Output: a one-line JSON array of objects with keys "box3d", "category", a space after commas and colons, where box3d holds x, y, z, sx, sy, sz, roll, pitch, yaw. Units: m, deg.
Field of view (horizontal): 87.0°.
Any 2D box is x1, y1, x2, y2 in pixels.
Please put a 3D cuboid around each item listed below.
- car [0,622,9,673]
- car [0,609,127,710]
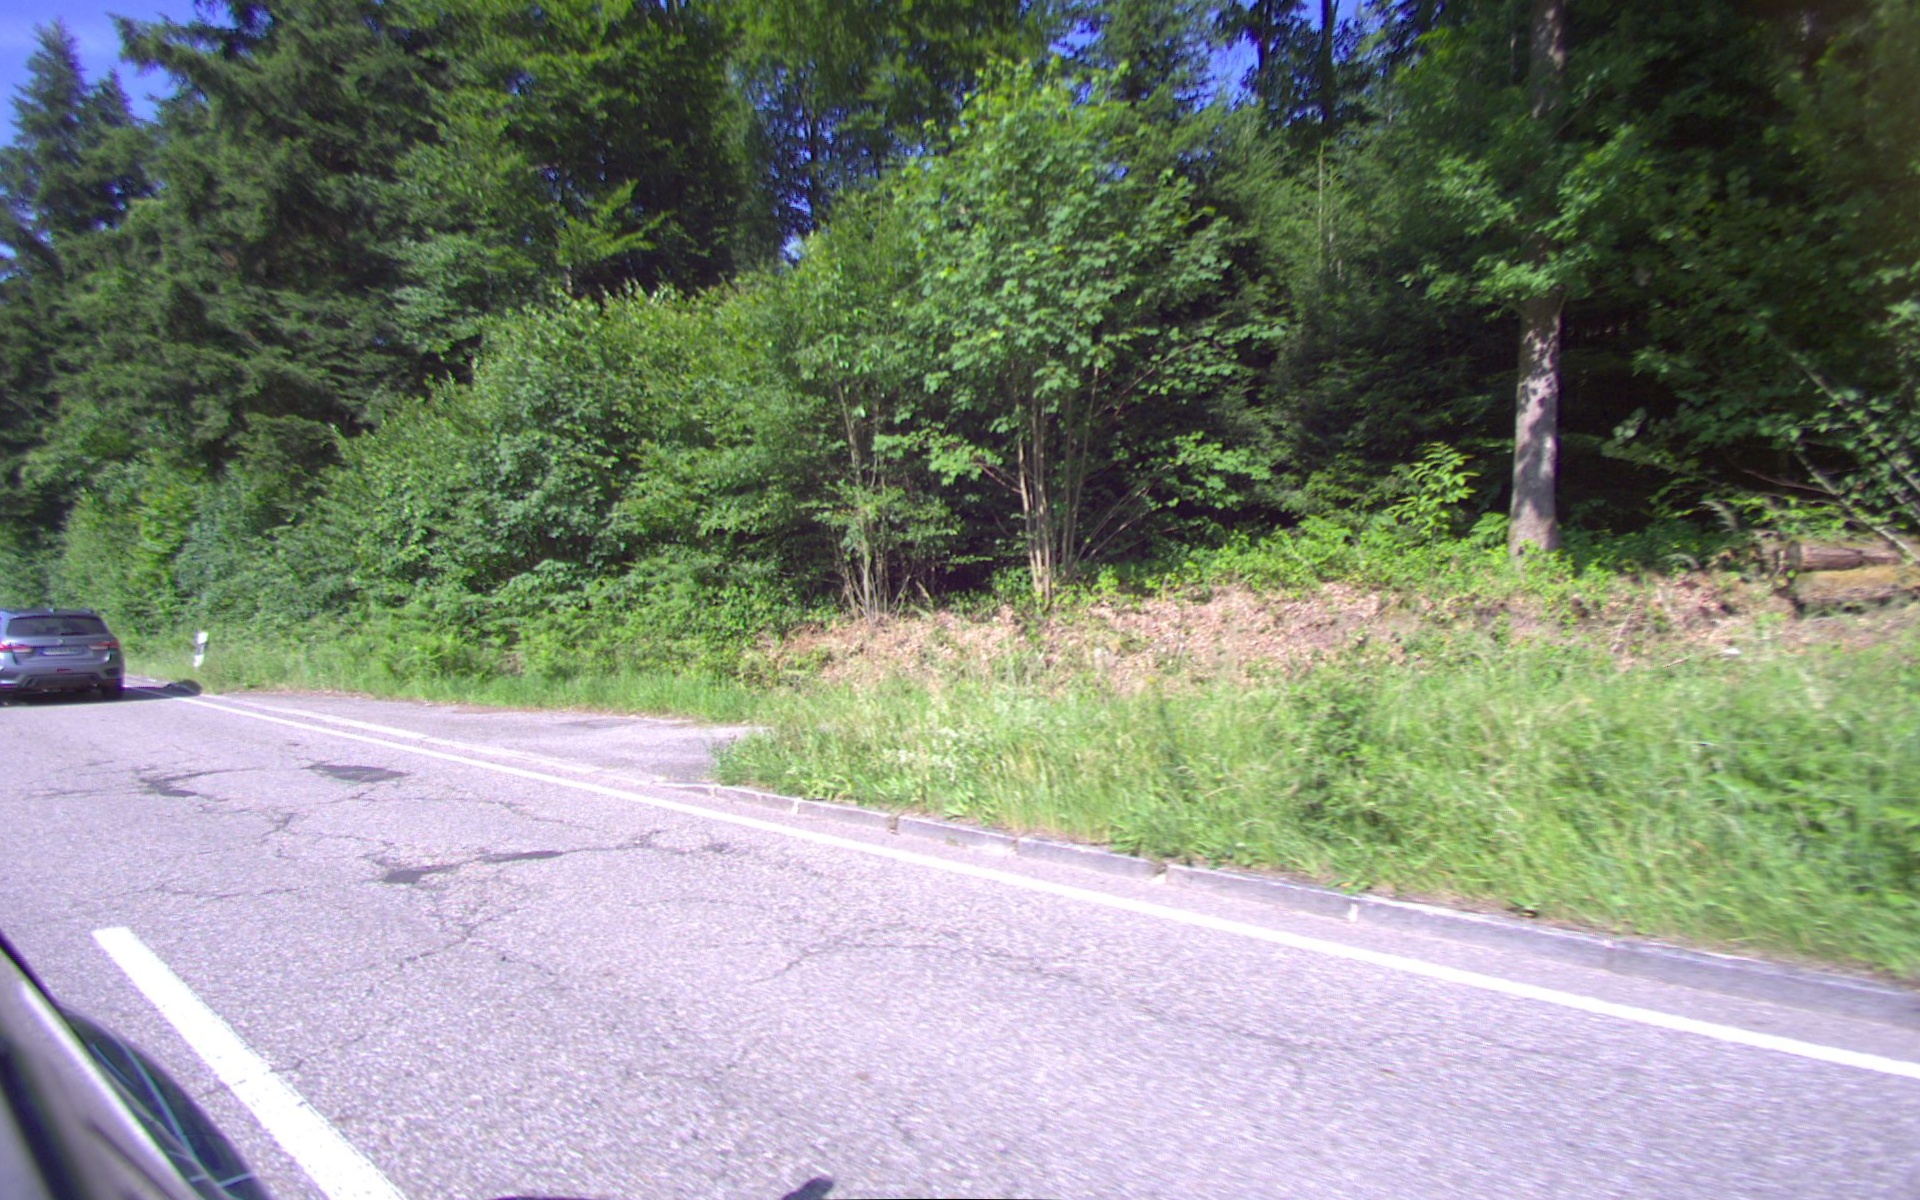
[{"box3d": [-28.266, 1.312, 28.491, 3.998, 1.375, 1.775, -1, -1, 41], "category": "car"}, {"box3d": [-16.527, 0.991, 18.046, 4.873, 1.593, 1.817, -1, -2, 41], "category": "car"}]
